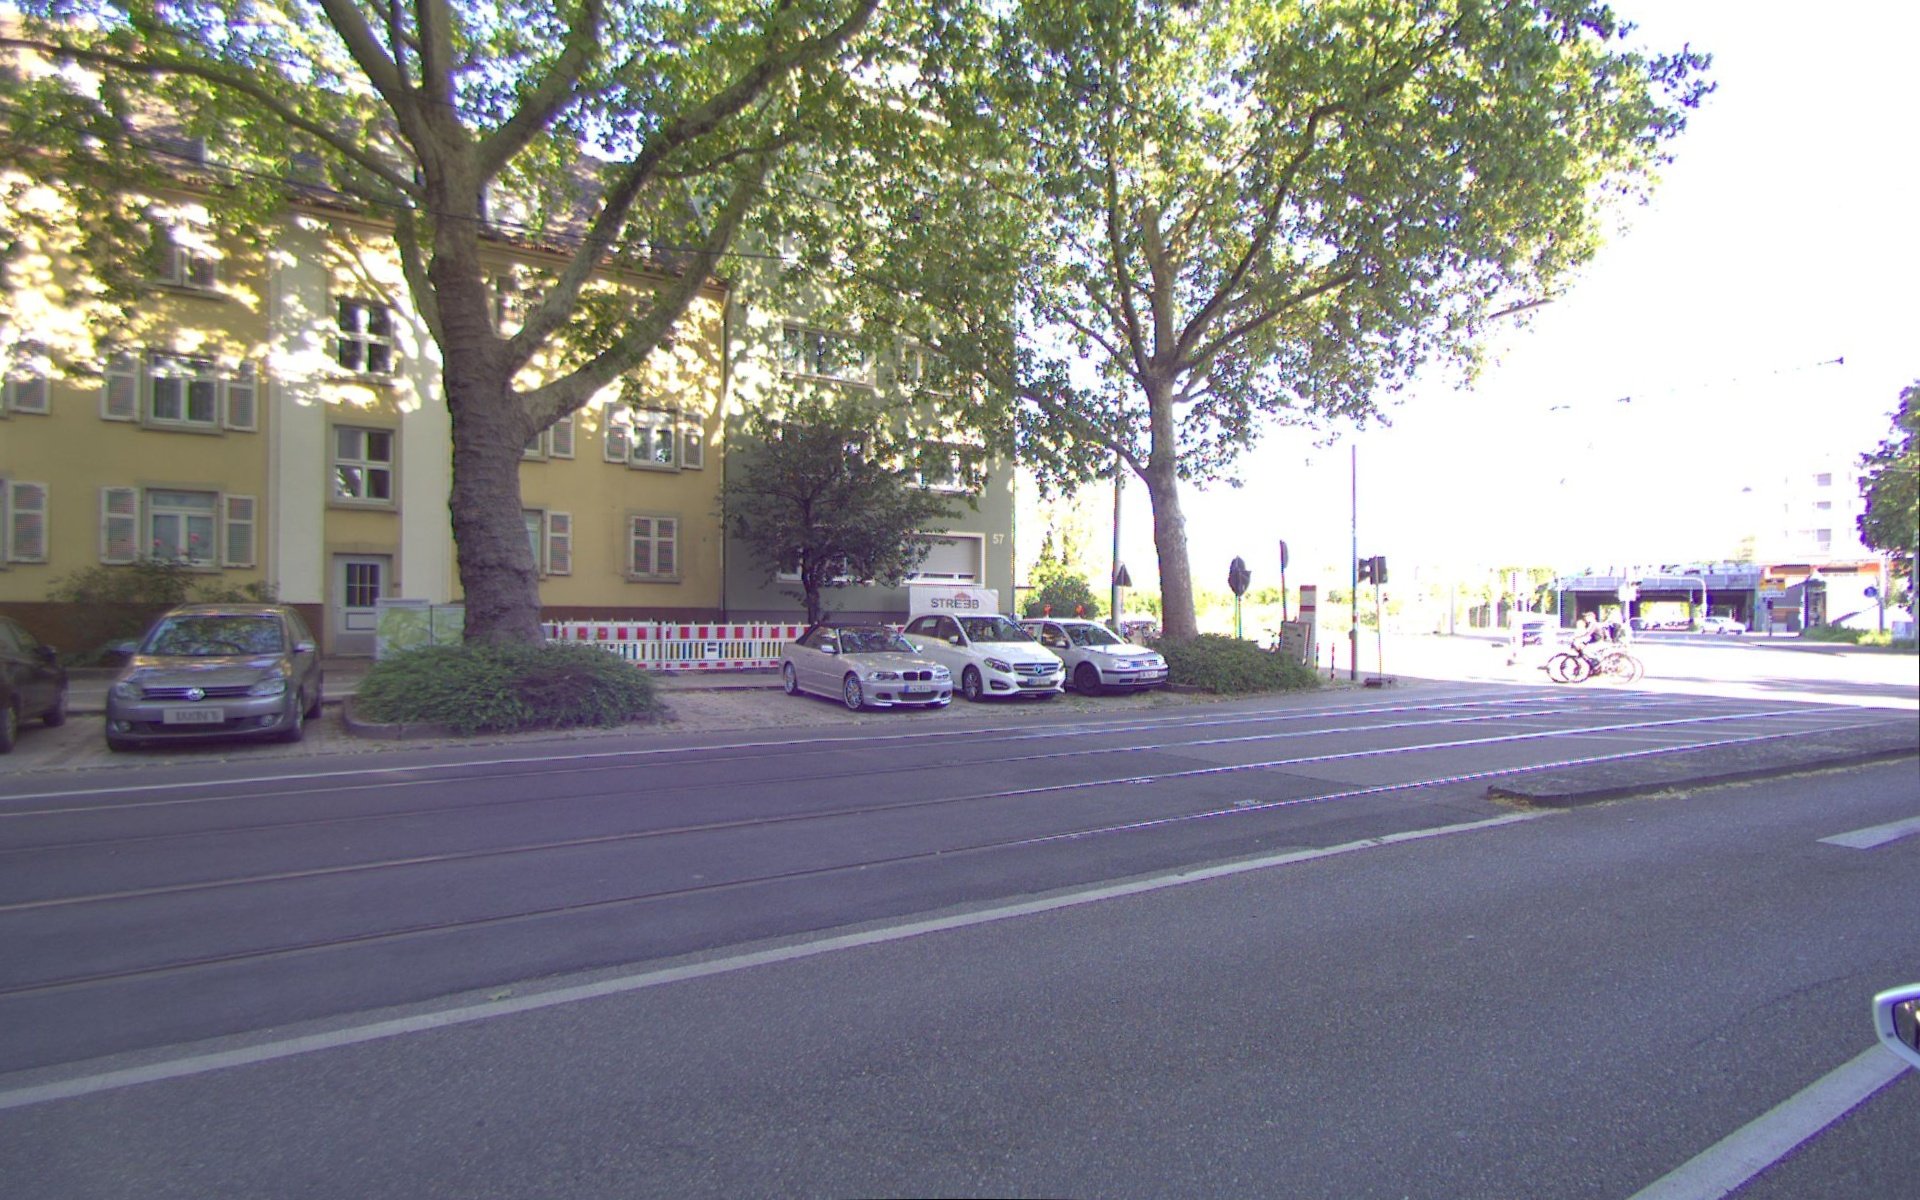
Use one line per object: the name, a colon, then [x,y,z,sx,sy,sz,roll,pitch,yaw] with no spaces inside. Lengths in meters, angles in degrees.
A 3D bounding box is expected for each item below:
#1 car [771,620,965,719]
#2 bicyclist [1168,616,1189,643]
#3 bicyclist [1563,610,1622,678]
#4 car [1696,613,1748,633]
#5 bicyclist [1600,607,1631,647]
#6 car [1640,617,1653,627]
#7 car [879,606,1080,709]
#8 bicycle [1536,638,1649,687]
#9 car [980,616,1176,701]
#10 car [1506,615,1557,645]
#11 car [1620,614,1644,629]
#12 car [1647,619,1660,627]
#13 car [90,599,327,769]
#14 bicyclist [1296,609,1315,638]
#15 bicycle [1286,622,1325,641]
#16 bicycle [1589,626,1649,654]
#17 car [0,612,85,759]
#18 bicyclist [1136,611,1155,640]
car: [-1.729,1.095,17.442,1.708,1.386,4.219,1,0,-31]
bicyclist: [12.916,1.734,59.378,0.789,1.591,1.005,1,-1,-29]
bicyclist: [14.717,1.004,23.373,1.099,1.540,0.918,0,-1,38]
car: [70.612,2.127,93.186,1.702,1.829,4.190,0,-1,2]
bicyclist: [26.896,1.112,41.233,0.641,1.616,0.858,1,-1,-27]
car: [141.287,4.477,206.778,1.966,1.973,4.488,0,-1,32]
car: [0.221,0.994,19.486,1.777,1.640,4.587,1,1,-30]
bicycle: [14.711,1.422,23.392,2.163,1.047,0.831,0,-1,38]
car: [2.300,1.109,20.831,1.656,1.448,4.490,1,0,-30]
car: [32.430,1.679,56.948,1.803,1.539,3.876,2,1,40]
car: [83.494,2.633,124.766,2.185,1.847,4.131,0,-1,37]
car: [128.940,4.263,186.740,1.967,1.623,4.234,0,-1,34]
car: [-9.037,0.860,12.433,1.793,1.627,4.169,1,1,-29]
bicyclist: [19.260,1.294,55.989,0.816,1.584,0.637,0,-1,1]
bicycle: [19.272,1.758,56.017,2.002,1.075,0.583,0,-1,1]
bicycle: [26.959,1.612,41.110,0.585,1.108,2.048,1,-1,-27]
car: [-11.394,0.882,11.304,1.723,1.448,3.545,1,0,-31]
bicyclist: [11.352,1.561,61.317,0.913,1.730,0.874,0,-1,29]
